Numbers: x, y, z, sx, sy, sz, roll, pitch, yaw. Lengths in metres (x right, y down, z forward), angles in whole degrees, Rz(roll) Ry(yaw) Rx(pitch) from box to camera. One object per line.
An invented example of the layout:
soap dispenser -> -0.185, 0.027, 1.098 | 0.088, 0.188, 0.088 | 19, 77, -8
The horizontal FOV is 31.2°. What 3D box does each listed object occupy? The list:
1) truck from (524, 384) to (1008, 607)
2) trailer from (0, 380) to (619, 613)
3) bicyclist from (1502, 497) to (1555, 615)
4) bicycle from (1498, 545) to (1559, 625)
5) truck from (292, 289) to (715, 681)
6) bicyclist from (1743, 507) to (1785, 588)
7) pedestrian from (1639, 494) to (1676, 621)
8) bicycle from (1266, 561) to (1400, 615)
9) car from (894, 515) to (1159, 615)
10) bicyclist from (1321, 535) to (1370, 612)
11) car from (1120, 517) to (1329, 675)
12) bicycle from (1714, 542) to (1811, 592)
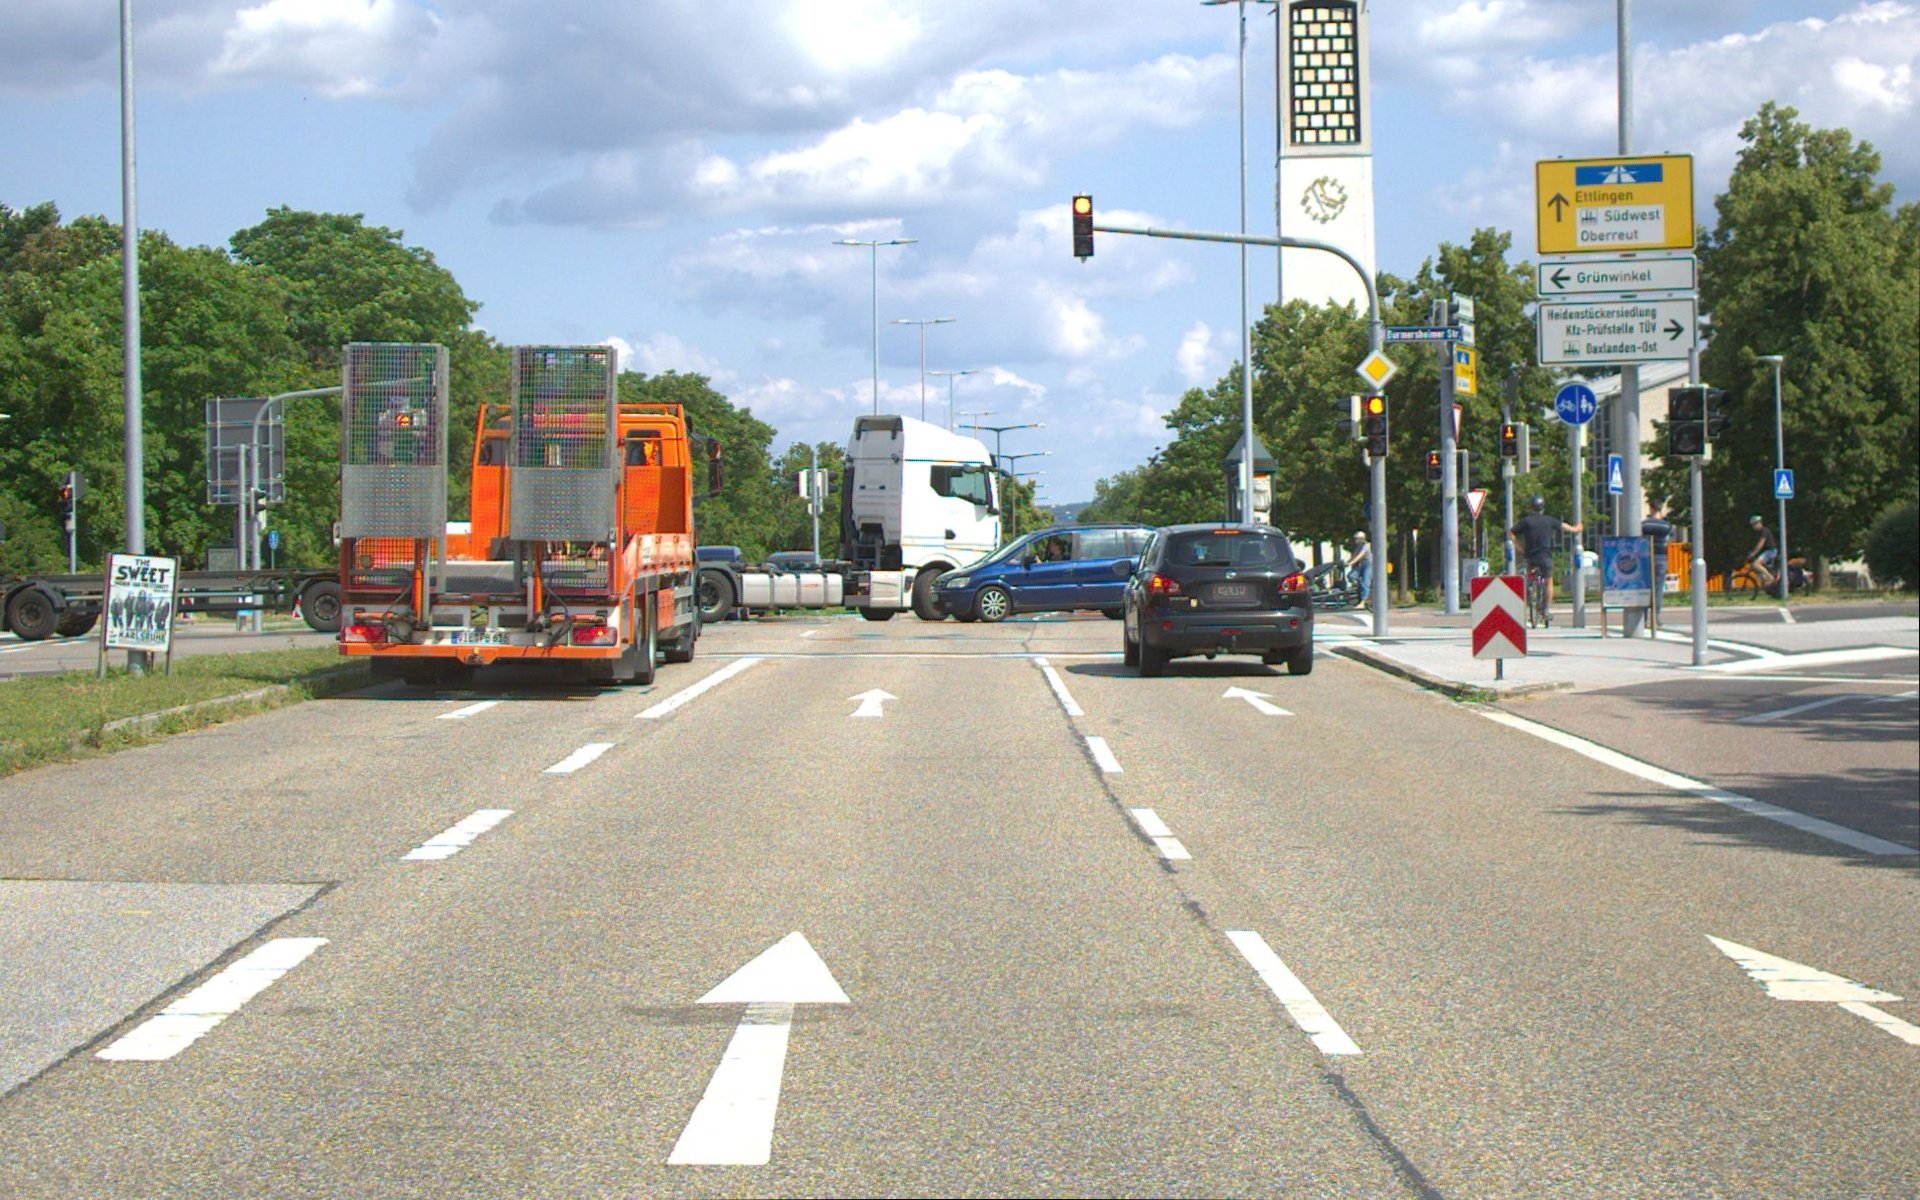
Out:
truck -> -3.564, -1.920, 64.274 | 8.609, 3.957, 2.969 | -1, 1, -30
trailer -> -11.964, -1.841, 61.661 | 11.281, 3.998, 3.632 | 0, 1, 1
bicyclist -> 8.045, -0.622, 48.669 | 0.648, 1.656, 0.650 | 1, 0, 15
bicycle -> 8.086, -0.212, 48.858 | 0.648, 1.104, 1.927 | 1, 0, 15
truck -> -4.433, -1.032, 35.933 | 3.070, 3.402, 11.069 | 1, 0, -1
bicyclist -> 17.891, -1.166, 76.486 | 0.787, 1.798, 0.685 | 0, 0, 25
pedestrian -> 9.813, -0.595, 48.346 | 0.465, 1.773, 0.482 | 1, 0, 10
bicycle -> 7.874, -0.264, 72.491 | 2.833, 1.108, 0.797 | -1, 1, -27
car -> 1.113, -0.587, 58.415 | 4.198, 1.568, 1.856 | 1, 0, -9
bicyclist -> 8.134, -0.556, 72.620 | 0.698, 1.610, 0.797 | -1, 1, -27
car -> 2.743, -0.045, 36.432 | 1.799, 1.547, 4.000 | 1, 0, -1
bicycle -> 17.864, -0.740, 76.498 | 1.999, 1.090, 0.685 | 0, 0, 25
